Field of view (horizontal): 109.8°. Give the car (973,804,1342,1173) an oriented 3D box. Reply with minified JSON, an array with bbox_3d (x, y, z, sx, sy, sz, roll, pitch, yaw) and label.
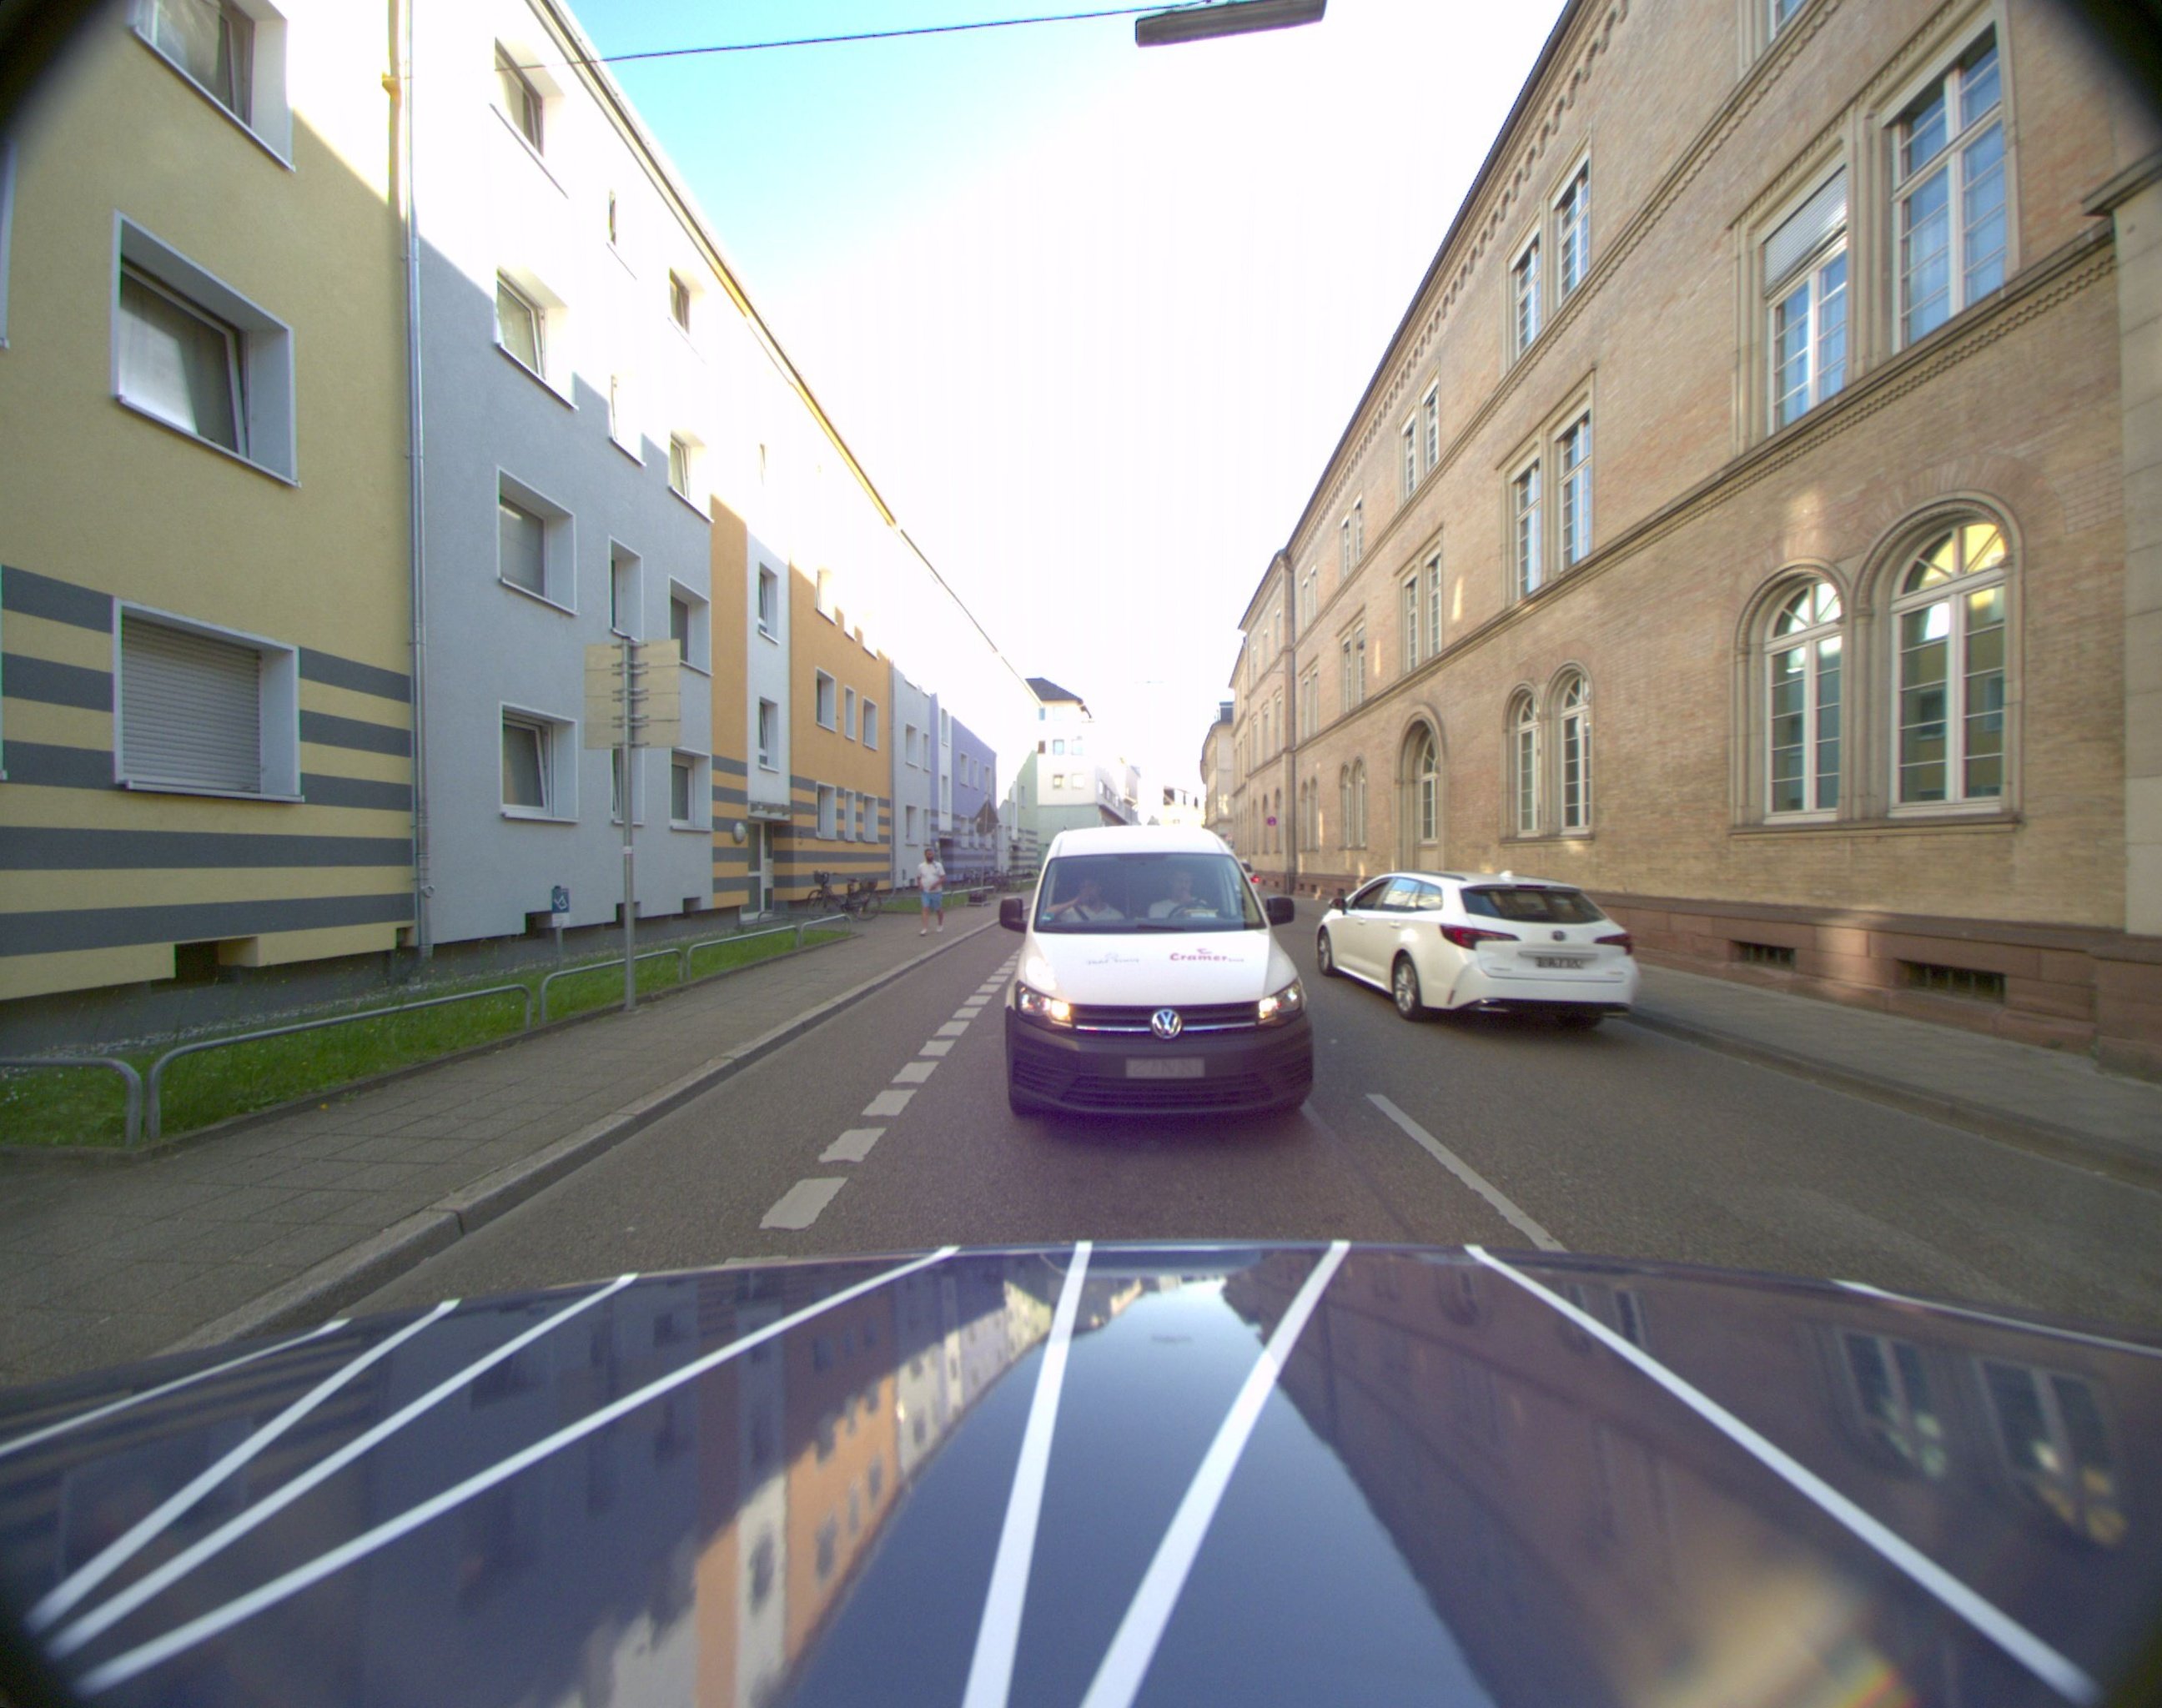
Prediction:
[{"bbox_3d":[0.417,0.676,6.446,1.819,1.825,5.341,0,0,1],"label":"car"}]

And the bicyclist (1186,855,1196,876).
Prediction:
[{"bbox_3d":[8.528,0.882,58.895,0.651,1.558,0.961,2,0,9],"label":"bicyclist"}]

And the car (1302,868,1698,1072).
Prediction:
[{"bbox_3d":[3.993,0.971,8.337,1.891,1.467,4.545,2,0,2],"label":"car"}]

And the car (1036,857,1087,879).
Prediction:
[{"bbox_3d":[-1.592,1.174,63.481,3.995,1.681,1.901,-2,1,5],"label":"car"}]

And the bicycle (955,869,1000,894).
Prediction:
[{"bbox_3d":[-4.324,1.134,31.864,1.775,0.990,0.584,1,1,7],"label":"bicycle"}]

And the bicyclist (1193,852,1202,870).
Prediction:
[{"bbox_3d":[10.242,0.615,66.661,0.651,1.500,1.112,2,0,10],"label":"bicyclist"}]

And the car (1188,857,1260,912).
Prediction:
[{"bbox_3d":[4.496,0.897,24.414,1.689,1.573,4.275,2,0,3],"label":"car"}]

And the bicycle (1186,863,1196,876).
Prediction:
[{"bbox_3d":[8.529,1.194,58.905,0.651,1.001,1.808,2,0,9],"label":"bicycle"}]

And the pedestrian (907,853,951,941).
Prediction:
[{"bbox_3d":[-2.966,0.814,14.881,0.644,1.662,0.834,1,0,3],"label":"pedestrian"}]

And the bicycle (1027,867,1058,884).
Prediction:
[{"bbox_3d":[-2.313,1.309,46.077,1.775,0.934,0.584,1,1,7],"label":"bicycle"}]

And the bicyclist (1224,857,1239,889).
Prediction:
[{"bbox_3d":[6.752,0.839,34.122,0.604,1.434,0.578,0,0,4],"label":"bicyclist"}]

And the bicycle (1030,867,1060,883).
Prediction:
[{"bbox_3d":[-2.233,1.340,47.615,1.775,0.934,0.584,1,1,7],"label":"bicycle"}]

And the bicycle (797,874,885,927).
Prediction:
[{"bbox_3d":[-5.392,1.031,17.107,1.776,1.118,0.583,1,1,-1],"label":"bicycle"}]

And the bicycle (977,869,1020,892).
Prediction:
[{"bbox_3d":[-3.657,1.163,33.822,1.775,0.934,0.584,1,1,7],"label":"bicycle"}]

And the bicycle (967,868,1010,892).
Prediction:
[{"bbox_3d":[-4.047,1.125,33.206,1.775,0.990,0.584,1,1,7],"label":"bicycle"}]
